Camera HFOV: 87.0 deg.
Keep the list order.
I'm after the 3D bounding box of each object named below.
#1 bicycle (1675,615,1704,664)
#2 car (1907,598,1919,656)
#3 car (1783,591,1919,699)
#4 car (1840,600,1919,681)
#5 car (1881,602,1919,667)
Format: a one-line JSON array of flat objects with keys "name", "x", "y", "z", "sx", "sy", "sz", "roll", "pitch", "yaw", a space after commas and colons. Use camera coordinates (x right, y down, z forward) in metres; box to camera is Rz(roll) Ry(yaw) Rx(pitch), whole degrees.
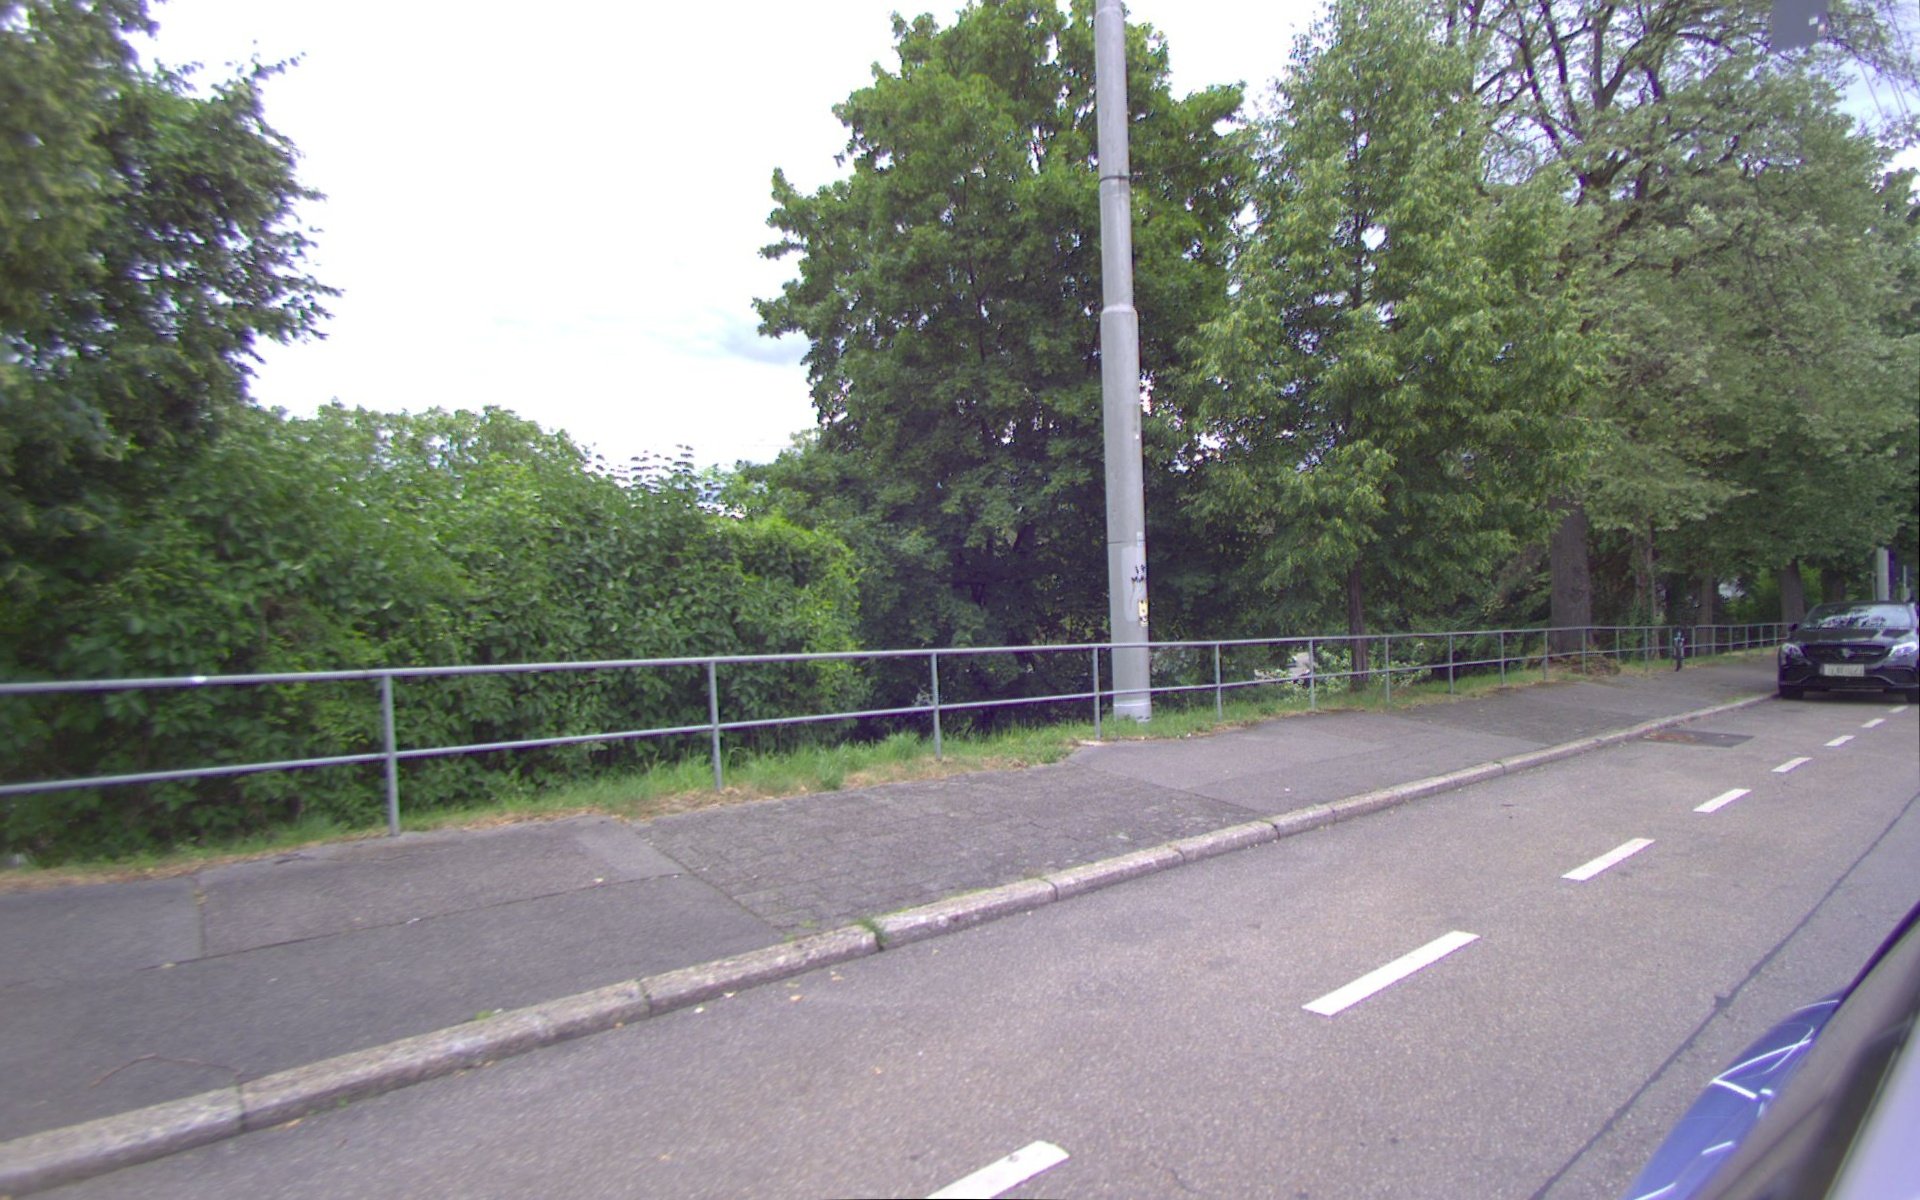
[{"name": "bicycle", "x": 16.056, "y": 0.855, "z": 22.274, "sx": 0.426, "sy": 0.988, "sz": 1.770, "roll": -1, "pitch": 0, "yaw": 39}, {"name": "car", "x": 28.551, "y": 0.742, "z": 28.942, "sx": 4.289, "sy": 1.595, "sz": 1.736, "roll": 0, "pitch": 0, "yaw": -42}, {"name": "car", "x": 16.514, "y": 0.717, "z": 18.113, "sx": 4.974, "sy": 1.699, "sz": 1.880, "roll": 0, "pitch": -2, "yaw": -41}, {"name": "car", "x": 20.795, "y": 0.837, "z": 22.218, "sx": 4.018, "sy": 1.653, "sz": 1.727, "roll": 0, "pitch": -3, "yaw": -43}, {"name": "car", "x": 24.427, "y": 0.819, "z": 25.367, "sx": 3.995, "sy": 1.536, "sz": 1.630, "roll": 0, "pitch": -2, "yaw": -43}]
